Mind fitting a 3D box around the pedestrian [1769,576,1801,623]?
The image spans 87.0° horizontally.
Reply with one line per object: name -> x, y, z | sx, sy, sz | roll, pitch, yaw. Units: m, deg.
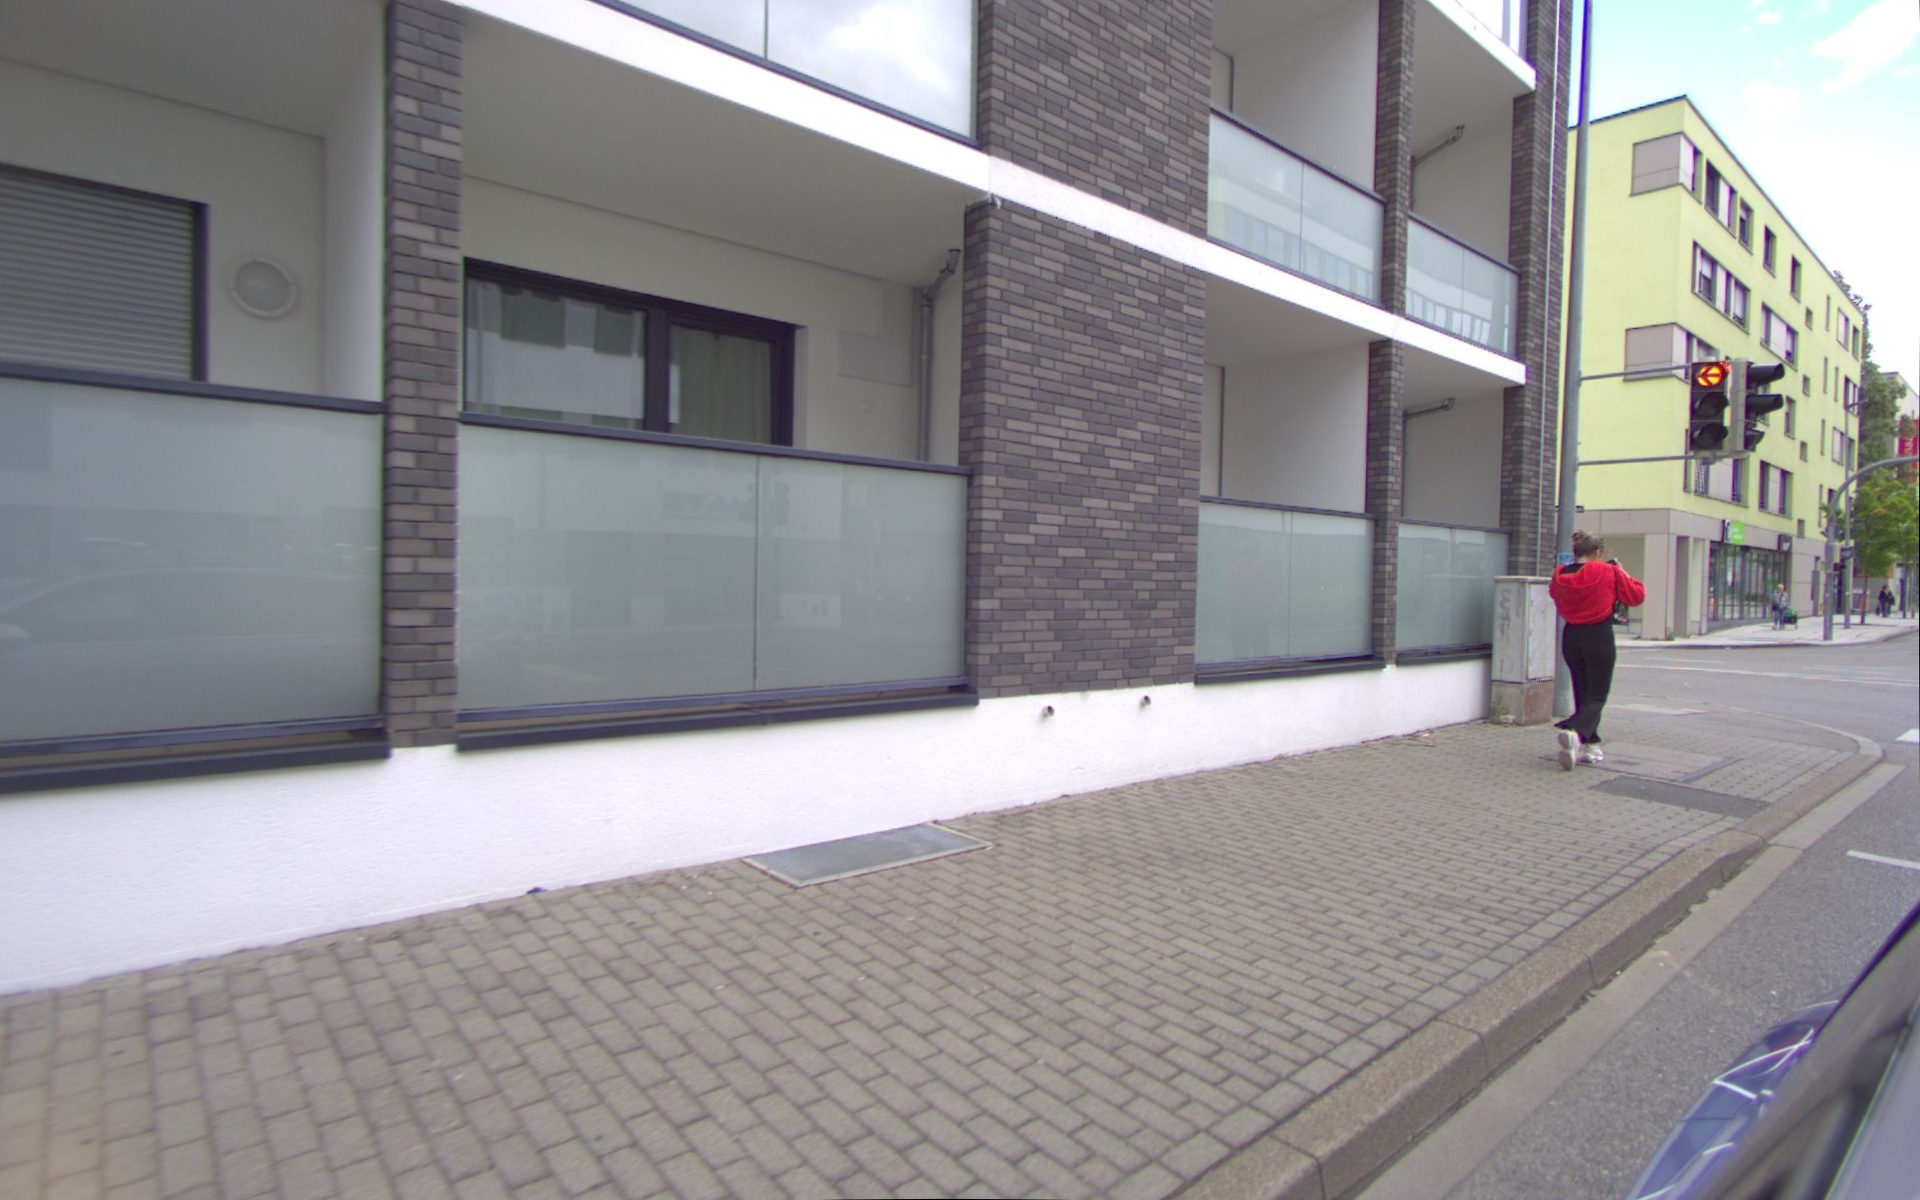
pedestrian -> 29.059, -0.028, 35.655 | 0.593, 1.613, 0.697 | 0, 3, -42

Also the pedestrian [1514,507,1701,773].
pedestrian -> 4.785, 0.252, 7.492 | 0.846, 1.808, 0.810 | 1, 5, -40

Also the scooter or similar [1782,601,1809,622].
scooter or similar -> 29.716, 0.394, 35.975 | 0.810, 0.681, 0.593 | 0, 4, -42

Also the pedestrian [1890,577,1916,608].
pedestrian -> 50.920, -0.396, 54.653 | 0.790, 1.602, 0.870 | 0, 3, -42

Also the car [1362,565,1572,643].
car -> 13.832, 0.062, 27.969 | 4.938, 2.012, 1.988 | 1, 1, 20

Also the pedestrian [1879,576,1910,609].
pedestrian -> 46.365, -0.371, 50.209 | 0.998, 1.602, 0.949 | 0, 3, -42
